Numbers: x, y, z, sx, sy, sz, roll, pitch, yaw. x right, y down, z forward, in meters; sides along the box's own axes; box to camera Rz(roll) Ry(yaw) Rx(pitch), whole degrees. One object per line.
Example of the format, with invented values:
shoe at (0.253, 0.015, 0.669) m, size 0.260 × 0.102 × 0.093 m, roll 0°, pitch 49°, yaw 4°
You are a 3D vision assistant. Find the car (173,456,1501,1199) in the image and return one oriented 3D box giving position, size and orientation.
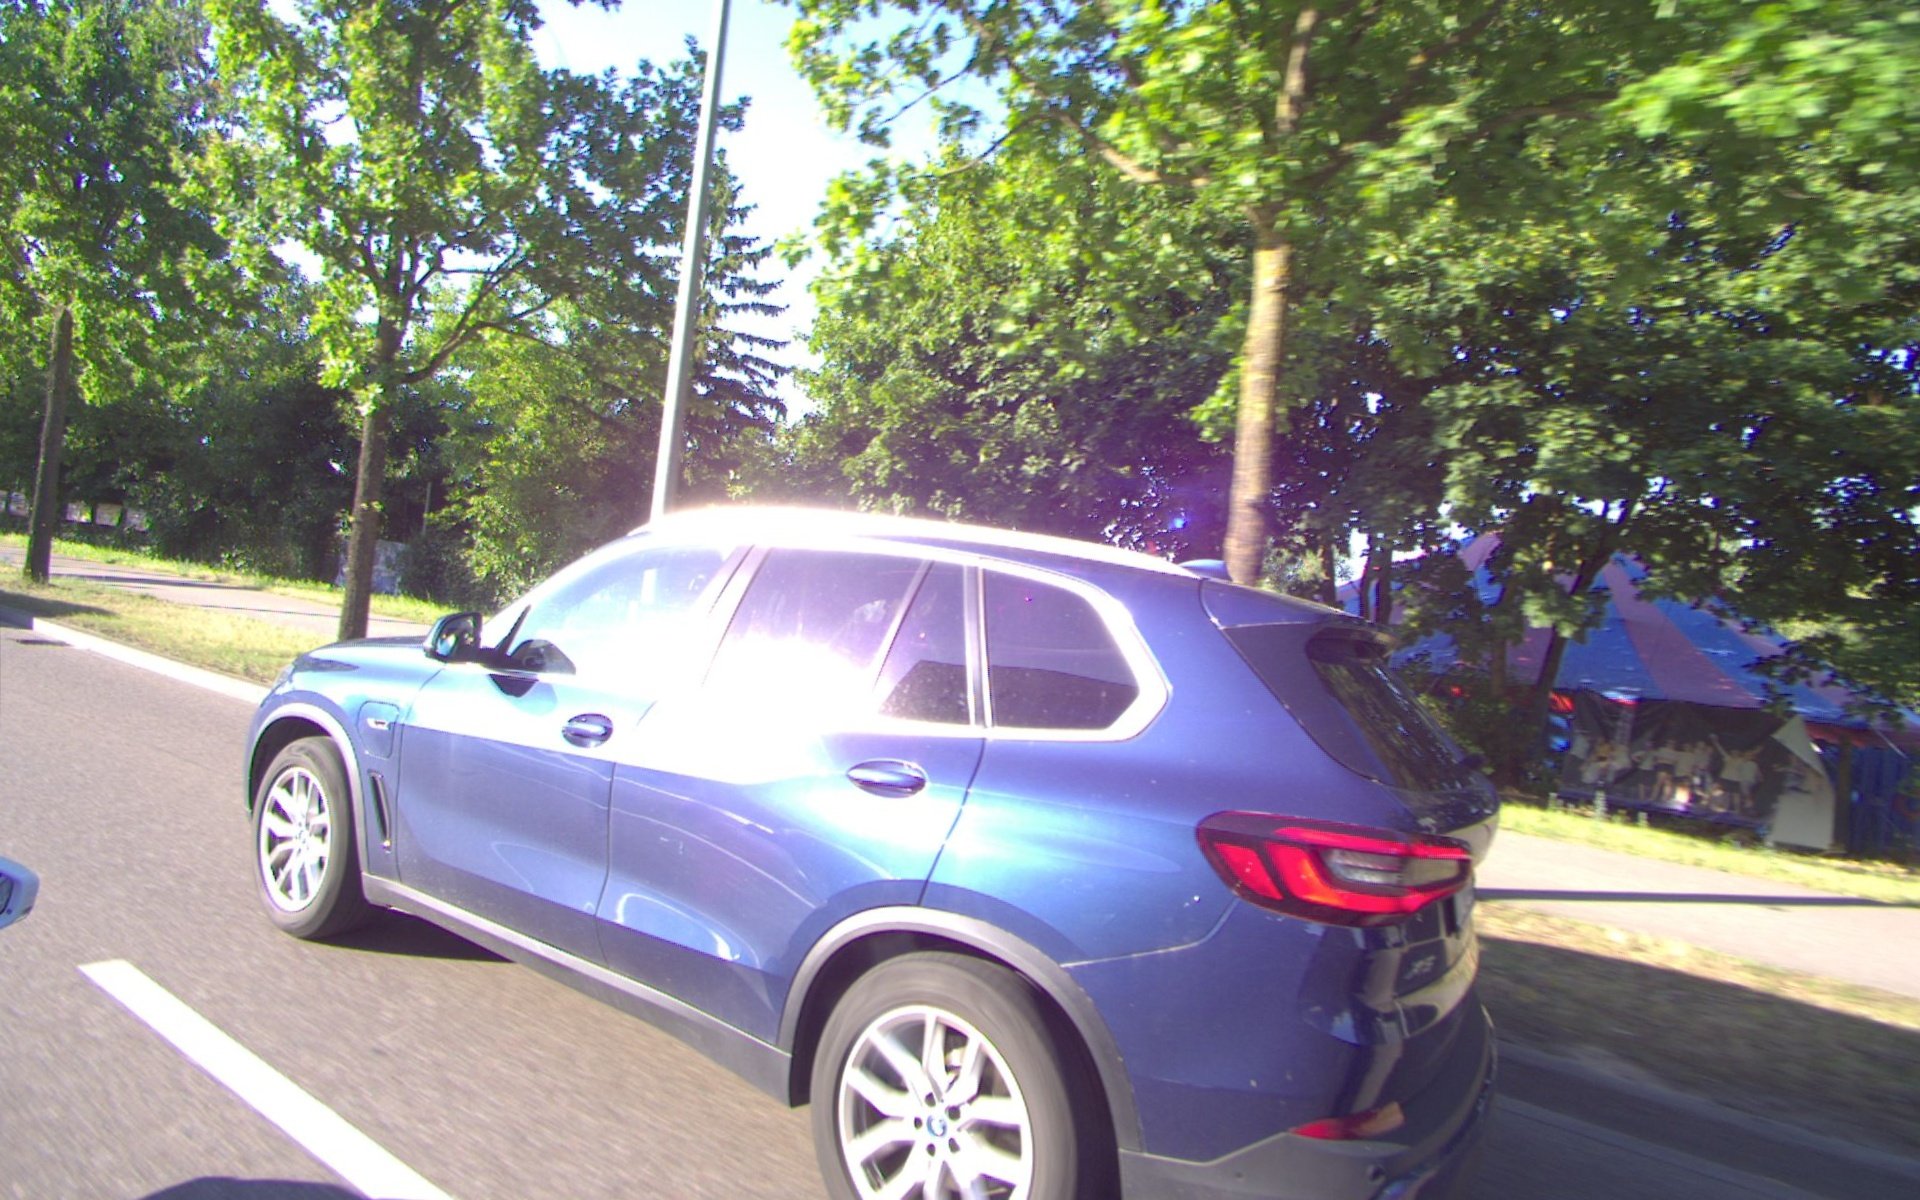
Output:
car at (-0.728, 0.575, 3.789) m, size 4.622 × 1.747 × 1.958 m, roll 6°, pitch -2°, yaw 32°
